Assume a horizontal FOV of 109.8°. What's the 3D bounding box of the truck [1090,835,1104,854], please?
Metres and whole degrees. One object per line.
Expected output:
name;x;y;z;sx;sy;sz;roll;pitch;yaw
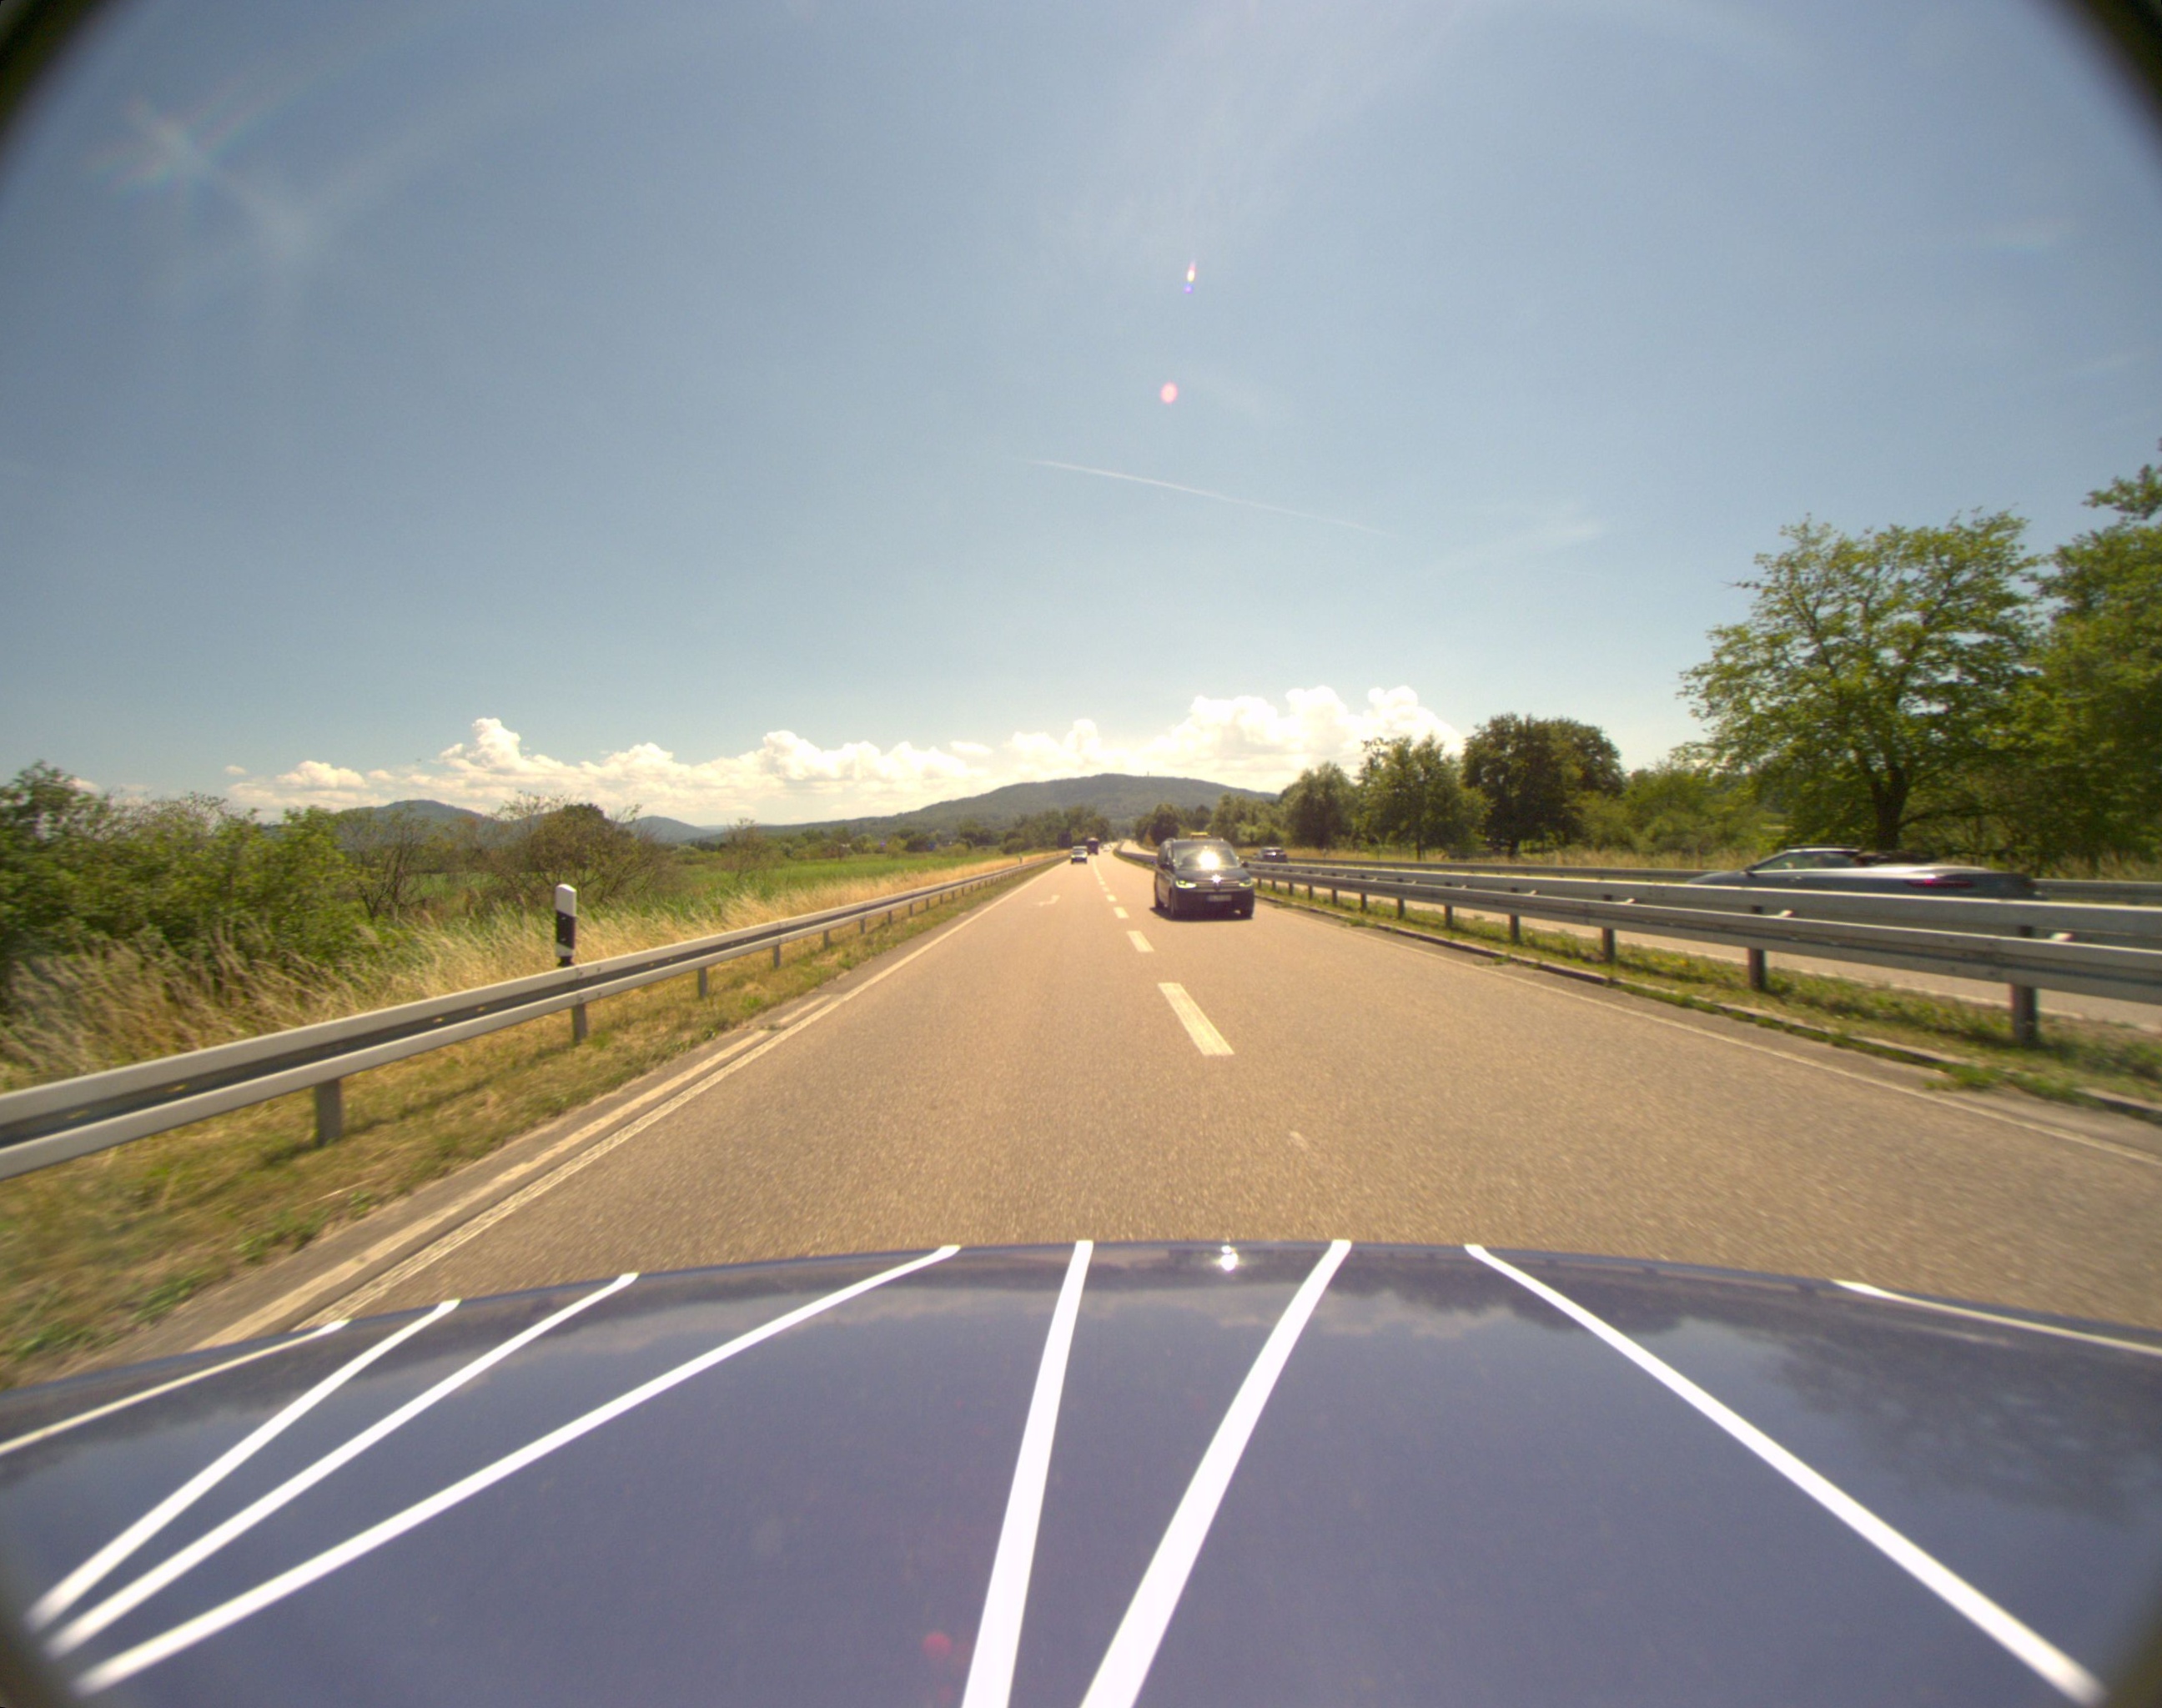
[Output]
truck;3.646;-2.151;173.778;2.826;4.143;9.948;-2;1;2

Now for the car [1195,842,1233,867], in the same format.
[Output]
car;10.203;0.005;58.692;1.985;1.797;4.968;-1;0;0

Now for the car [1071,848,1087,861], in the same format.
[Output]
car;-0.173;0.012;85.225;1.577;1.387;3.485;-2;1;2

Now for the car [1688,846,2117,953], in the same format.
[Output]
car;12.590;0.579;12.258;1.929;1.377;4.657;-1;0;1

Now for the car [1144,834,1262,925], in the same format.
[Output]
car;2.787;0.514;18.708;1.859;1.876;5.572;-1;1;-1

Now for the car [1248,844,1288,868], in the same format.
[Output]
car;13.372;0.155;54.504;1.847;1.608;4.170;-1;0;0
